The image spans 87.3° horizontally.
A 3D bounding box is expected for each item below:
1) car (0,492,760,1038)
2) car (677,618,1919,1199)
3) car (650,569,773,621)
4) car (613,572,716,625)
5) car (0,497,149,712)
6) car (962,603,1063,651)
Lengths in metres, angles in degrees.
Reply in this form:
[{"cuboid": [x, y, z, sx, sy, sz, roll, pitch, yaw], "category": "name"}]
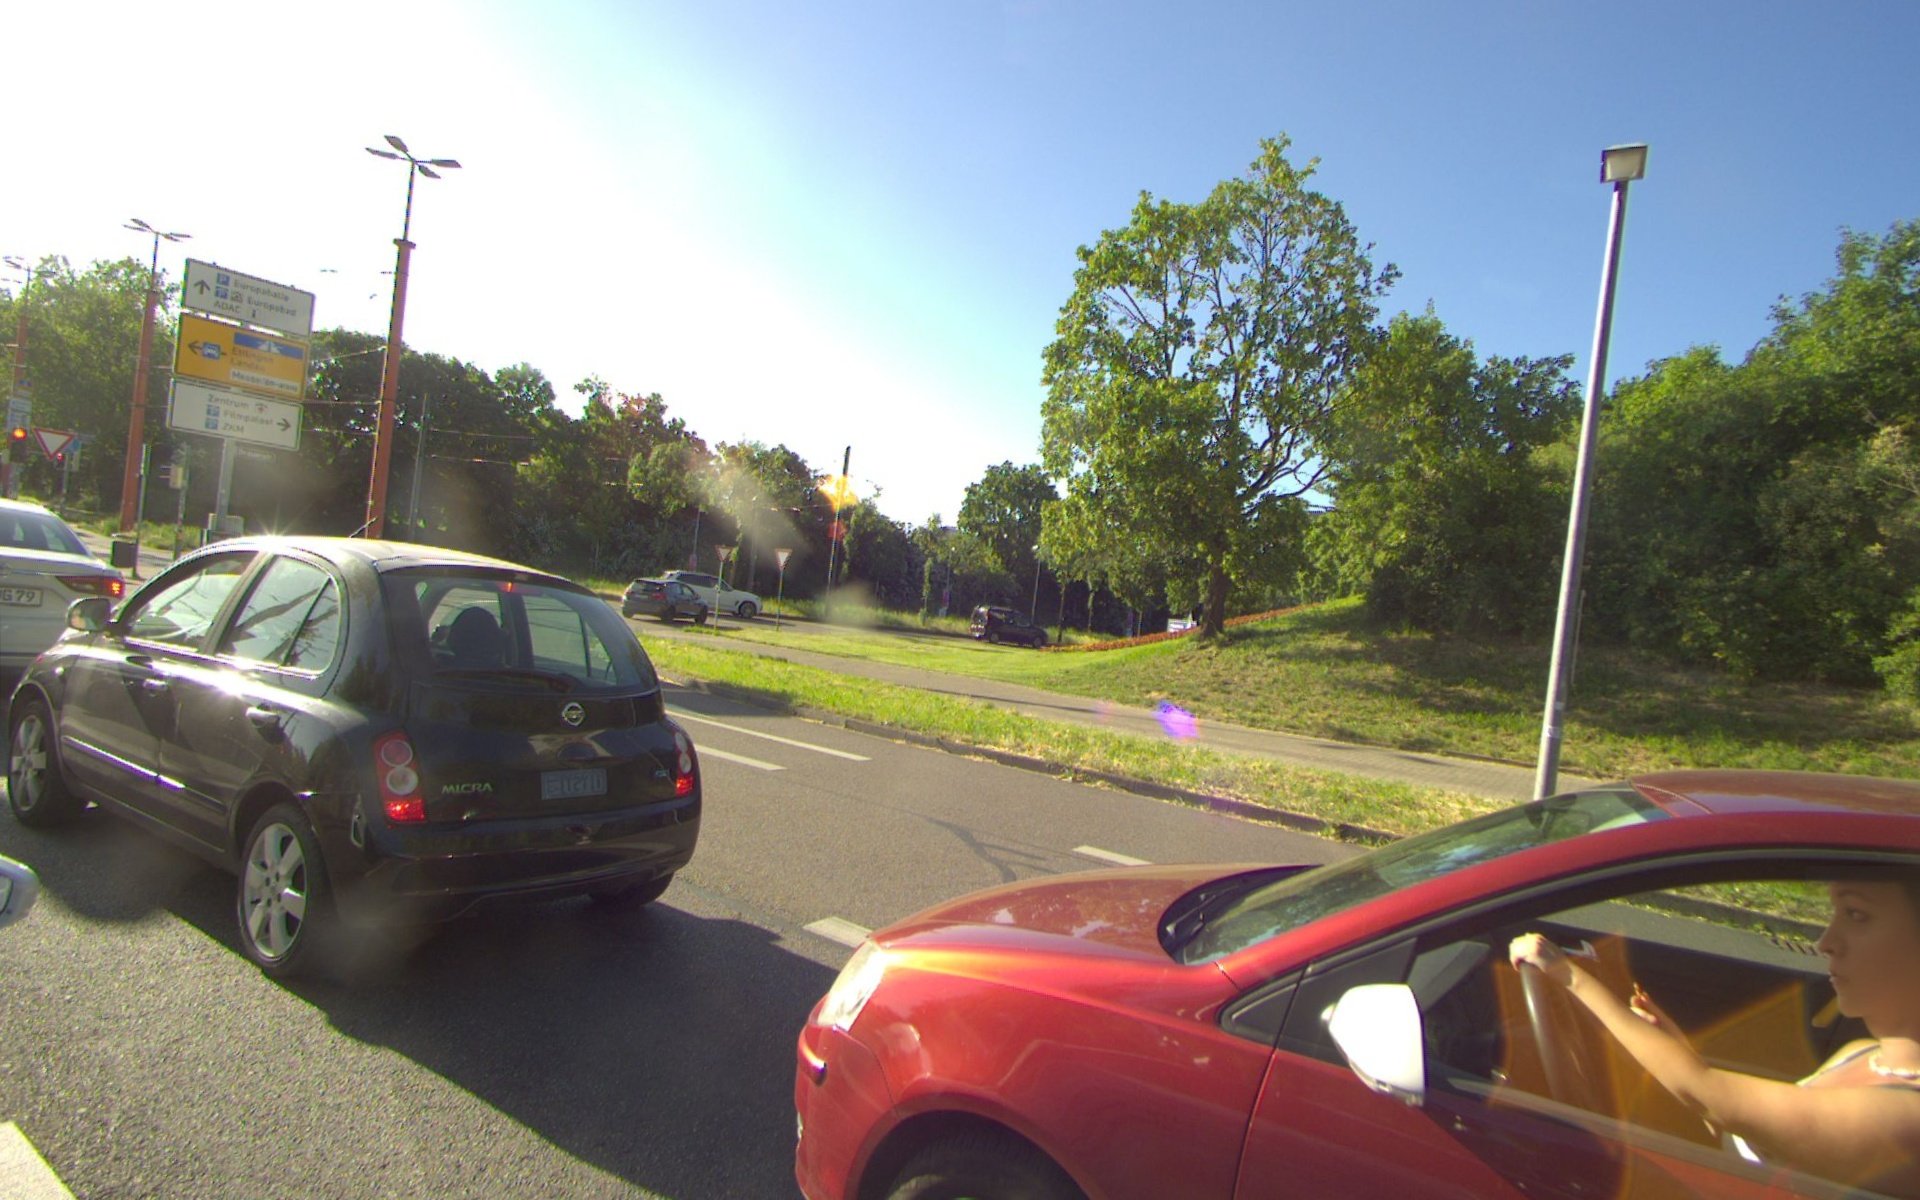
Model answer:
[{"cuboid": [-2.815, 0.466, 4.625, 3.457, 1.524, 1.558, 7, 0, 32], "category": "car"}, {"cuboid": [1.377, 0.992, 1.895, 3.634, 1.434, 1.624, 7, -1, 34], "category": "car"}, {"cuboid": [-10.816, -0.208, 43.811, 4.743, 1.617, 1.900, 8, -1, -29], "category": "car"}, {"cuboid": [-10.187, 0.011, 34.983, 1.718, 1.486, 3.895, 7, -1, 11], "category": "car"}, {"cuboid": [-8.341, -0.162, 7.978, 4.077, 1.472, 1.717, 7, -1, 33], "category": "car"}, {"cuboid": [2.706, 1.393, 51.749, 4.738, 1.858, 1.902, 8, -1, -26], "category": "car"}]
